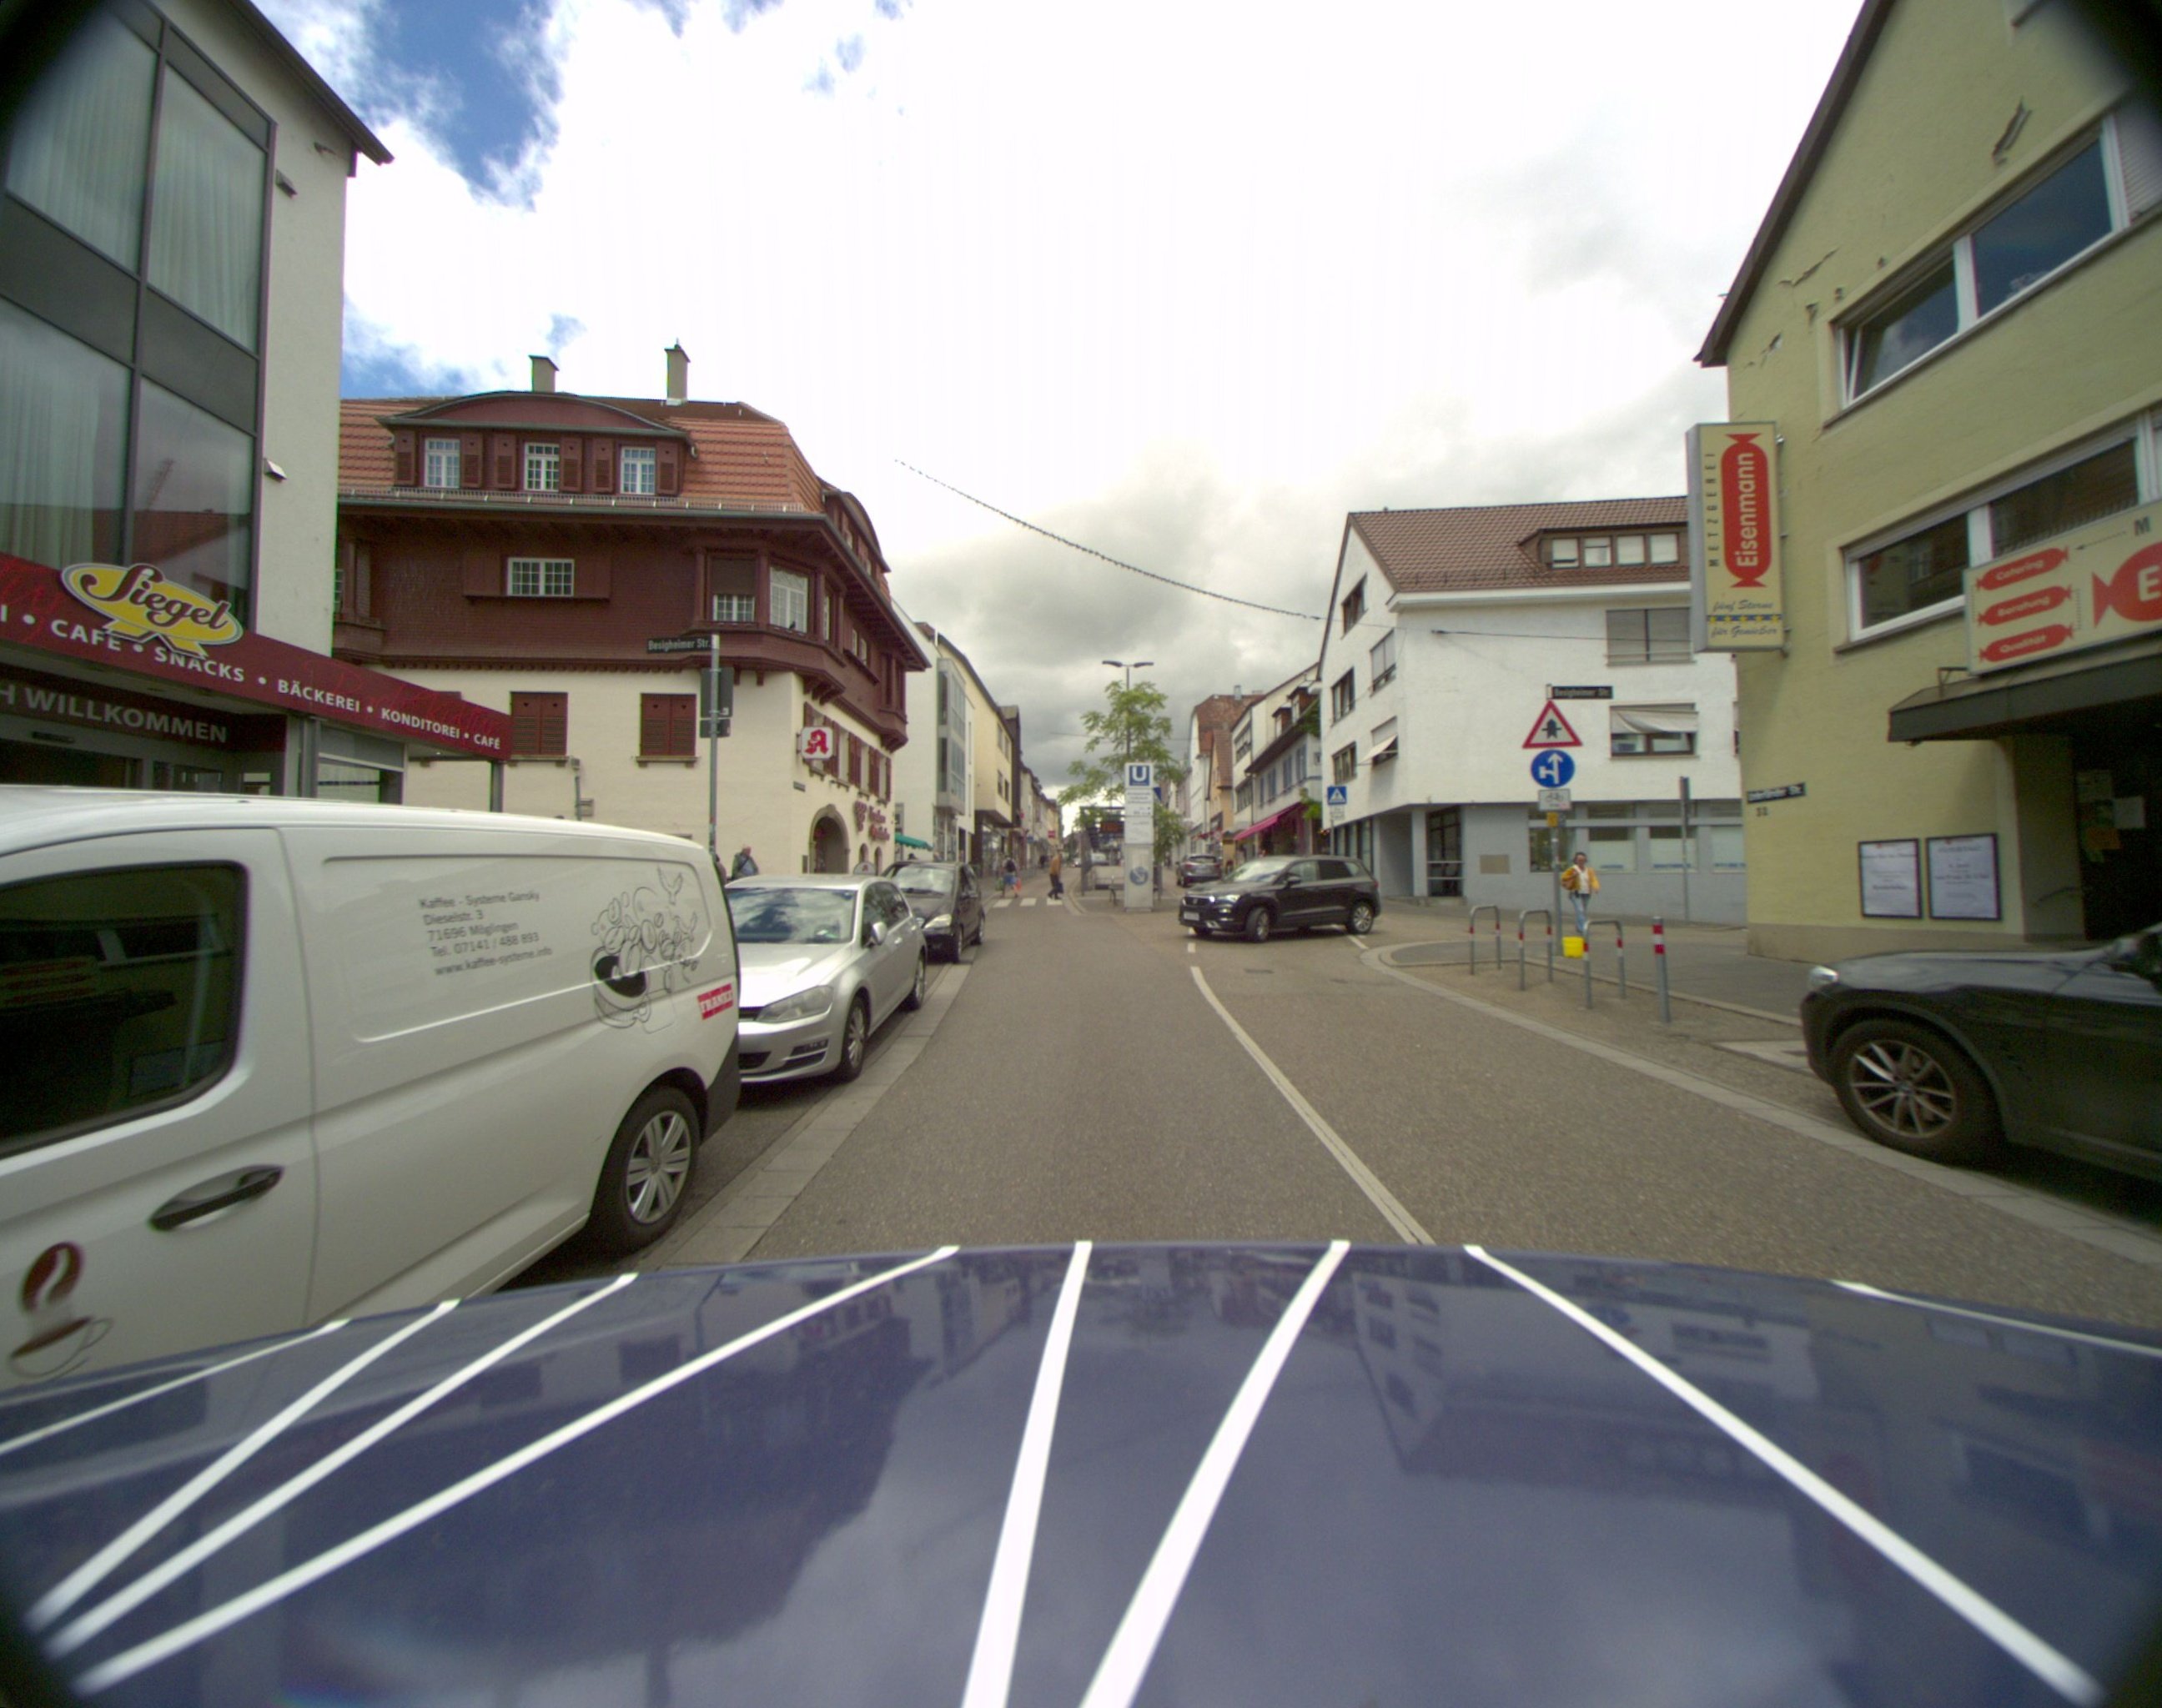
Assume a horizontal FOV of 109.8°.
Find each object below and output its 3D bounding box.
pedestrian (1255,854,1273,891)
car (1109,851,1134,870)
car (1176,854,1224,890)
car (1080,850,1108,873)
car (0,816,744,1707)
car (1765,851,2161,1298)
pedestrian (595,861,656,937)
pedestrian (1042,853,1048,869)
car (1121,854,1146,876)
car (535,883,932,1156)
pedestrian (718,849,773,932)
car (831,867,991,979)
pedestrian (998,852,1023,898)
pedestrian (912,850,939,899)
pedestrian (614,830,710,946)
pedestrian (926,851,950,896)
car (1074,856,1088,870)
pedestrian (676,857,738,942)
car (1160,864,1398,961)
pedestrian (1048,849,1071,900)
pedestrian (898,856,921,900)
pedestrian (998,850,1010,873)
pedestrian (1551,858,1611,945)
[{"bbox_3d":[8.563,0.856,35.560,0.696,1.730,0.825,0,1,3],"label":"pedestrian"},{"bbox_3d":[3.509,0.548,66.168,1.998,1.580,4.494,-2,0,1],"label":"car"},{"bbox_3d":[5.787,0.842,37.362,1.967,1.611,4.356,-1,0,4],"label":"car"},{"bbox_3d":[0.945,0.552,58.255,1.999,1.557,4.431,-2,0,-1],"label":"car"},{"bbox_3d":[-2.792,0.844,1.544,1.881,1.789,4.733,-1,0,3],"label":"car"},{"bbox_3d":[5.187,0.846,2.316,2.012,1.683,4.607,-2,0,0],"label":"car"},{"bbox_3d":[-9.638,0.928,16.091,0.725,1.522,0.808,2,1,6],"label":"pedestrian"},{"bbox_3d":[-3.831,0.716,81.476,0.663,1.696,0.780,0,1,-1],"label":"pedestrian"},{"bbox_3d":[4.058,0.811,58.882,1.703,1.538,3.898,-2,0,1],"label":"car"},{"bbox_3d":[-2.467,1.068,6.562,1.707,1.459,3.999,0,0,-2],"label":"car"},{"bbox_3d":[-7.262,0.773,16.478,0.776,1.759,0.817,-1,1,2],"label":"pedestrian"},{"bbox_3d":[-2.763,1.052,13.263,1.808,1.546,3.954,-1,0,1],"label":"car"},{"bbox_3d":[-2.783,0.809,30.084,0.987,1.777,0.919,0,1,-4],"label":"pedestrian"},{"bbox_3d":[-5.937,0.761,29.010,0.778,1.846,0.704,0,1,43],"label":"pedestrian"},{"bbox_3d":[-6.348,0.498,11.572,0.865,1.697,0.945,0,1,6],"label":"pedestrian"},{"bbox_3d":[-5.654,0.748,30.053,0.701,1.756,0.627,0,1,26],"label":"pedestrian"},{"bbox_3d":[-0.052,1.375,113.496,1.998,2.002,4.000,-1,0,1],"label":"car"},{"bbox_3d":[-7.543,0.894,15.352,0.774,1.636,0.870,1,1,6],"label":"pedestrian"},{"bbox_3d":[3.937,1.039,15.034,4.378,1.560,1.911,-2,0,-27],"label":"car"},{"bbox_3d":[-0.790,0.732,27.453,0.676,1.791,0.787,-1,1,-12],"label":"pedestrian"},{"bbox_3d":[-6.437,0.887,28.576,0.625,1.603,0.703,0,1,5],"label":"pedestrian"},{"bbox_3d":[-5.663,0.561,55.621,0.759,1.663,0.780,2,0,-1],"label":"pedestrian"},{"bbox_3d":[10.322,0.964,15.696,0.638,1.728,0.835,1,1,-2],"label":"pedestrian"}]
